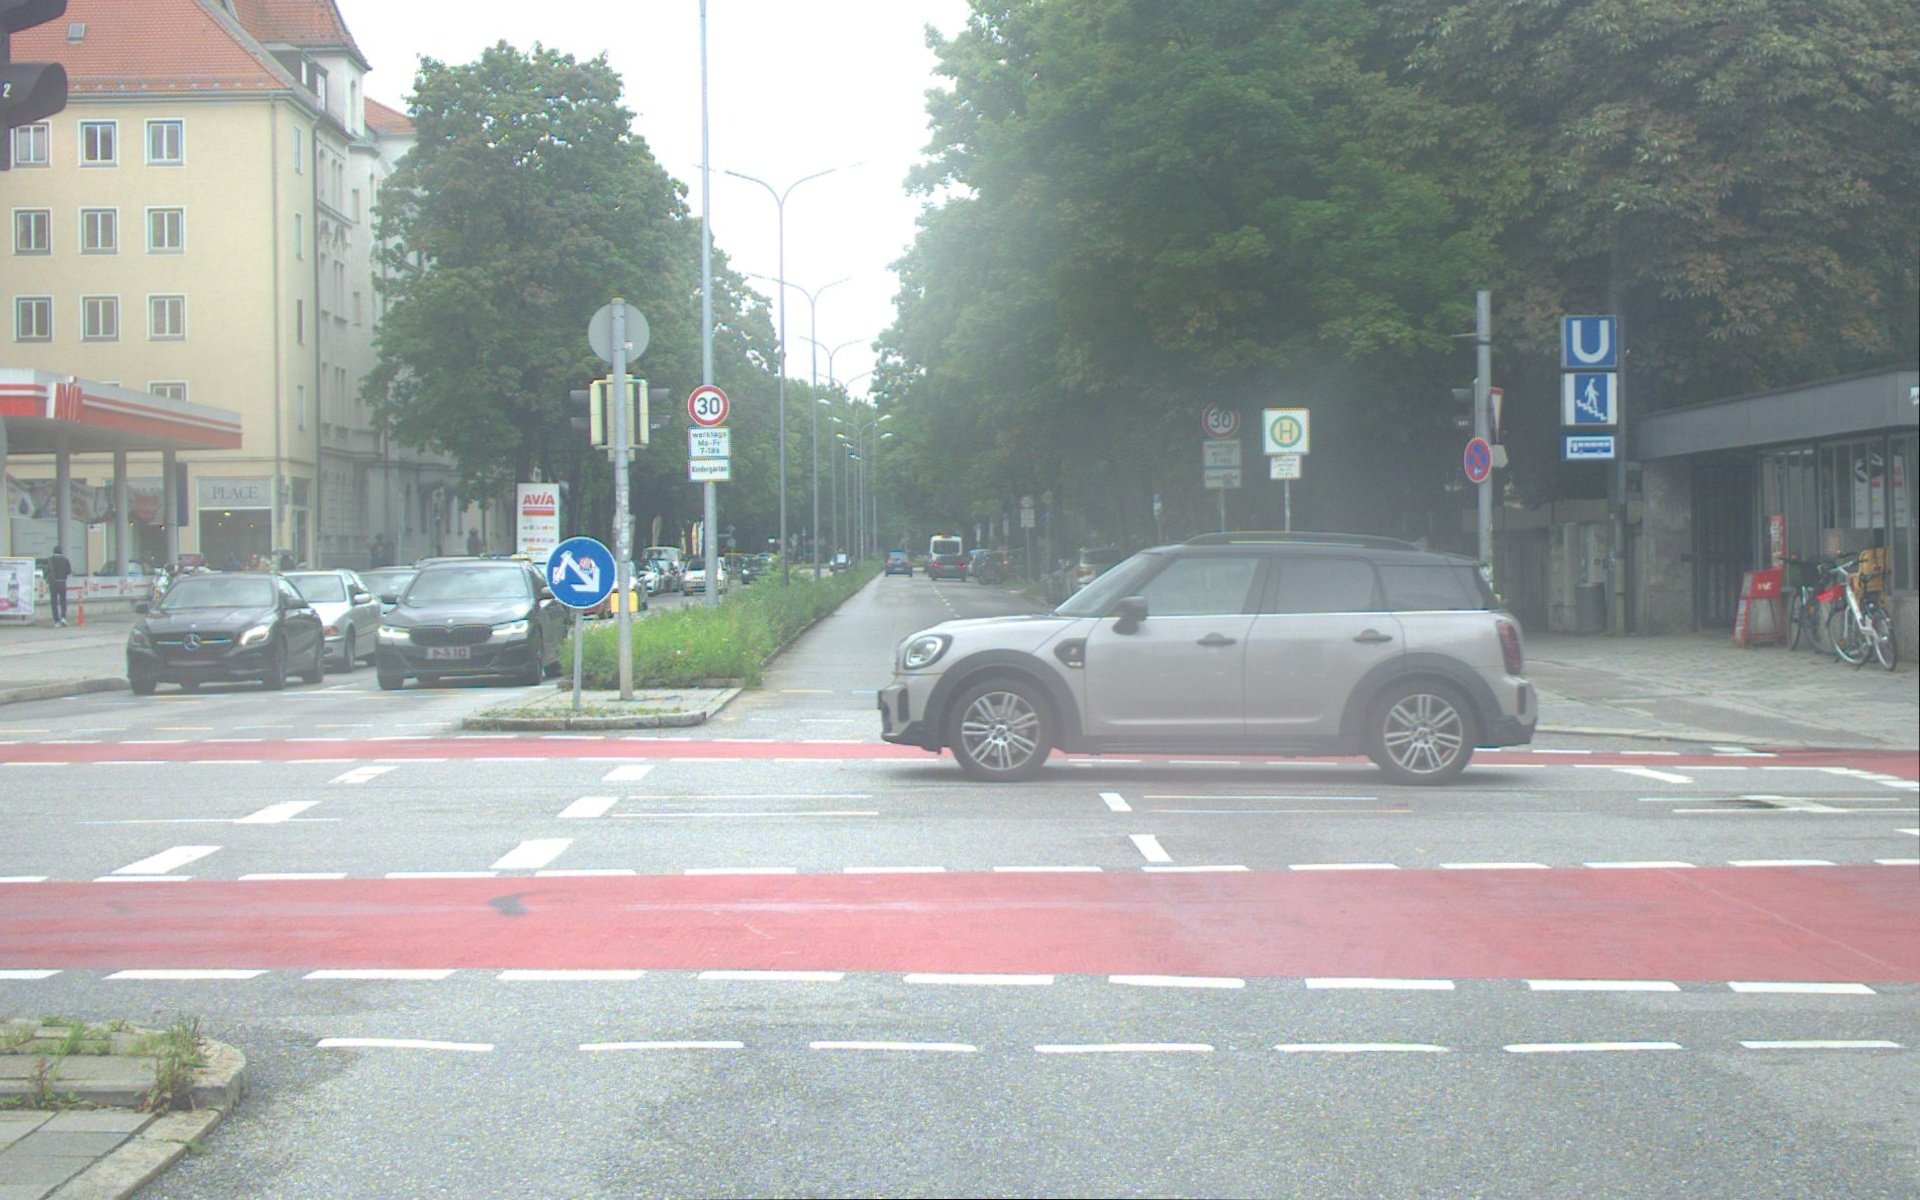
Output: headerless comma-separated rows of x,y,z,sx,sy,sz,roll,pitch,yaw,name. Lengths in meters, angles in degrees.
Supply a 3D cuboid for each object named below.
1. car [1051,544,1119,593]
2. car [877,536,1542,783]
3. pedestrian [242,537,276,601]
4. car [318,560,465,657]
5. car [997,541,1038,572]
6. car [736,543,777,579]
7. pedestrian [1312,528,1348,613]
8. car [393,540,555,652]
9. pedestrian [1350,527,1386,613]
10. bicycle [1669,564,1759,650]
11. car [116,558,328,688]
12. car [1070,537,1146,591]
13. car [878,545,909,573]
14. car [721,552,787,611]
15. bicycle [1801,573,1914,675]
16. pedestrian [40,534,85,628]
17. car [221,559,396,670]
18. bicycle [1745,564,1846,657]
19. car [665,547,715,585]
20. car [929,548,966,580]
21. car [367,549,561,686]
3.609,-0.925,99.740,1.743,1.358,3.807,-1,1,-1,car
1.551,0.358,22.425,4.168,1.508,1.695,-1,1,-1,car
-17.865,-0.795,87.601,0.696,1.632,0.738,-1,1,-1,pedestrian
-9.104,0.114,55.333,1.759,1.455,4.000,-1,1,-1,car
2.658,-2.038,159.566,1.743,1.422,3.899,-1,1,-1,car
-10.588,-2.048,179.088,1.952,1.817,4.000,0,1,-1,car
7.326,-0.582,68.079,0.678,1.677,0.682,0,1,5,pedestrian
-6.755,-0.086,48.134,1.759,1.488,4.000,-1,1,-1,car
8.071,-0.600,68.057,0.678,1.677,0.682,0,1,5,pedestrian
9.199,0.076,41.998,0.556,1.011,2.016,-1,1,-3,bicycle
-8.872,0.239,41.636,1.759,1.455,4.000,-1,1,-1,car
3.840,-0.944,89.710,1.743,1.358,3.807,-1,1,-1,car
-4.093,-2.514,210.686,1.857,1.678,4.000,-1,1,-1,car
-5.088,-0.479,85.305,1.468,1.394,3.700,-1,1,-1,car
9.406,0.240,36.090,0.556,1.011,2.016,-1,1,-3,bicycle
-19.429,-0.404,74.401,0.730,2.007,0.834,1,0,-1,pedestrian
-9.128,0.173,48.424,1.759,1.455,4.000,-1,1,-1,car
9.416,0.104,38.822,0.556,1.011,2.016,-1,1,-3,bicycle
-10.819,-1.365,137.973,1.759,1.455,4.000,-1,1,-1,car
-0.683,-1.920,182.702,1.922,1.678,4.000,-1,1,-1,car
-5.770,0.167,40.377,1.759,1.488,4.000,-1,1,-1,car
